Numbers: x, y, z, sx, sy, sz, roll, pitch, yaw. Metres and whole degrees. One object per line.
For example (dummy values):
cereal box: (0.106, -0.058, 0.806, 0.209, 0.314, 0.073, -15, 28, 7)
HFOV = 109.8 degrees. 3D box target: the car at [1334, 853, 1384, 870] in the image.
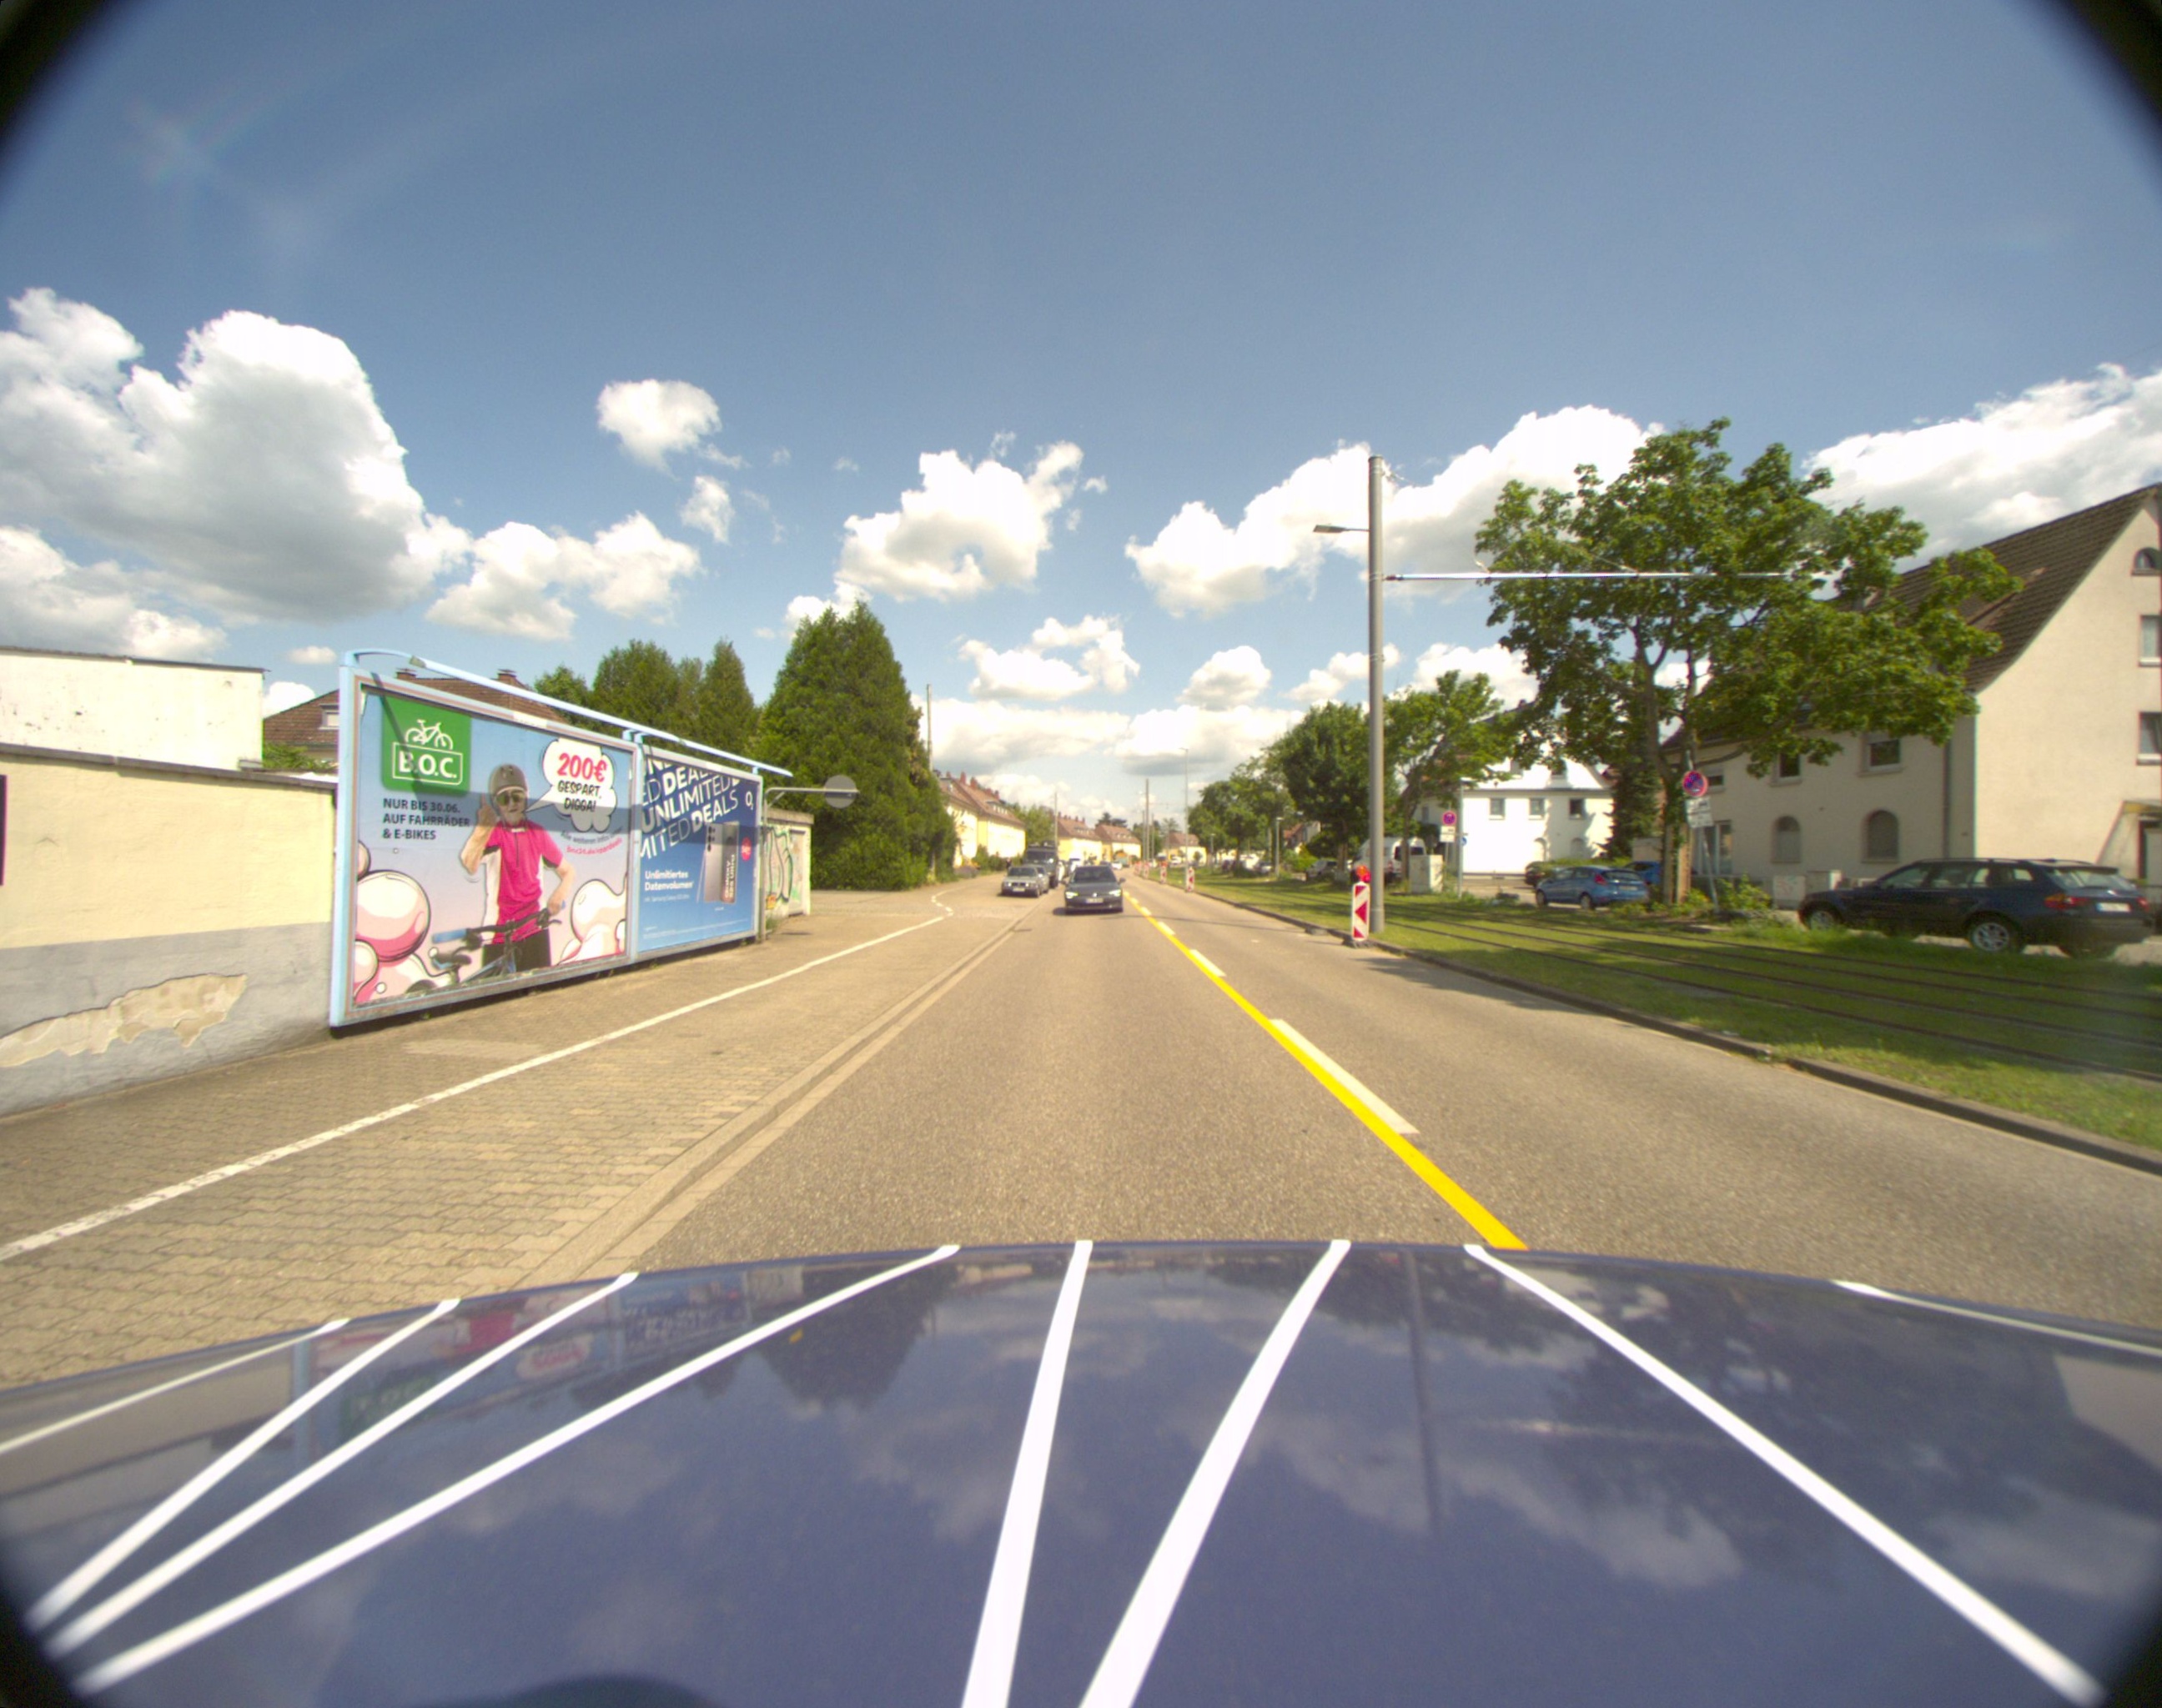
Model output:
car: (26.224, 0.742, 71.780, 3.997, 1.518, 2.001, 1, -2, 1)

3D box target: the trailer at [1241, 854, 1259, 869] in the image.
trailer: (16.847, 0.739, 75.764, 1.302, 1.510, 2.282, 1, 0, 1)

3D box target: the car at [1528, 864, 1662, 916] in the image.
car: (16.224, 1.081, 24.228, 1.758, 1.427, 3.890, 1, 1, 3)

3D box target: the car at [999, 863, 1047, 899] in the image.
car: (-2.549, 1.169, 34.181, 1.655, 1.423, 4.097, 1, 1, 2)

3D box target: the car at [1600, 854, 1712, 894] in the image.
car: (25.050, 0.830, 33.292, 1.907, 1.568, 4.000, 1, 1, 1)

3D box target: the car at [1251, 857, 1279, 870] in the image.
car: (17.021, 0.902, 70.432, 1.785, 1.087, 3.836, 1, 1, 1)

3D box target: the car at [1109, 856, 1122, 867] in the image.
car: (6.061, 1.281, 132.011, 1.997, 1.791, 4.002, 0, 0, 6)

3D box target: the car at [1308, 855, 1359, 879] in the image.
car: (16.695, 0.822, 50.461, 1.998, 1.497, 4.486, 1, 1, 1)

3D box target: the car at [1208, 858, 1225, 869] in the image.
car: (19.526, 1.376, 109.810, 1.998, 1.531, 4.323, 1, 1, 4)

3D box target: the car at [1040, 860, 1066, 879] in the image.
car: (-2.026, 1.145, 55.941, 1.725, 1.287, 4.128, 1, 0, 0)

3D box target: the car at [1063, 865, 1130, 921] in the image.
car: (0.415, 1.115, 23.259, 1.786, 1.412, 4.289, -4, 0, 0)

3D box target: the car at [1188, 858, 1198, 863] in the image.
car: (30.747, 1.779, 208.552, 1.511, 1.489, 3.581, 1, 0, 25)

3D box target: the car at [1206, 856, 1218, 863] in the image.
car: (37.889, 1.582, 219.851, 1.837, 2.043, 3.876, 1, 0, 33)

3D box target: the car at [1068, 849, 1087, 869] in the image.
car: (-0.435, 0.671, 99.550, 1.923, 2.522, 5.346, 1, 0, 5)

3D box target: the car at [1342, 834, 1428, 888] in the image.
car: (16.496, 0.377, 41.665, 1.999, 2.714, 6.462, 1, 0, -1)

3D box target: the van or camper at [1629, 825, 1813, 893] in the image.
van or camper: (31.228, 0.225, 37.288, 6.744, 3.203, 2.635, 0, 0, 1)

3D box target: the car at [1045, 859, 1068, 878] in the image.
car: (-1.996, 1.183, 62.444, 1.653, 1.410, 4.026, 1, 0, 2)

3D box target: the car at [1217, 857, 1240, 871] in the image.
car: (17.643, 1.146, 91.080, 1.998, 1.531, 4.322, 1, 1, 2)

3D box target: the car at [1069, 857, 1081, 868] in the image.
car: (-0.748, 1.096, 94.833, 1.358, 1.299, 3.543, 1, 0, 2)

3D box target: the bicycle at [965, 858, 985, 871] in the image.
bicycle: (-9.253, 0.914, 66.227, 1.693, 1.096, 0.290, 0, 0, 1)

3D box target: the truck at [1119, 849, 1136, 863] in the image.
truck: (10.020, 0.334, 164.259, 2.530, 2.931, 7.868, 1, 1, 12)

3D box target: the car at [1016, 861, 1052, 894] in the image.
car: (-2.366, 1.143, 39.171, 1.696, 1.507, 4.355, 1, 1, -1)

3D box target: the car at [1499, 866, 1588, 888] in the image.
car: (27.194, 1.312, 44.779, 3.995, 1.154, 2.046, 1, 1, 5)

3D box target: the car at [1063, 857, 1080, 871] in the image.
car: (-1.018, 1.138, 85.906, 1.756, 1.480, 4.628, 1, 0, 1)

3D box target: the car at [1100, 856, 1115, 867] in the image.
car: (3.780, 1.080, 109.929, 1.998, 1.566, 4.000, 0, 0, 0)

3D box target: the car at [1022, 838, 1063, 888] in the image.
car: (-2.214, 0.503, 45.069, 2.001, 2.744, 4.879, 1, 0, 1)

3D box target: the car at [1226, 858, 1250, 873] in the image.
car: (17.726, 1.303, 85.950, 1.910, 1.568, 4.102, 3, -1, 2)

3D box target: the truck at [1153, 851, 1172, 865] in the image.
truck: (19.571, 0.992, 182.312, 2.699, 3.346, 8.061, 1, 0, 18)

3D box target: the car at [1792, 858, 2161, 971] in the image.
car: (16.220, 0.957, 13.996, 1.999, 1.681, 4.390, 1, 1, -2)
